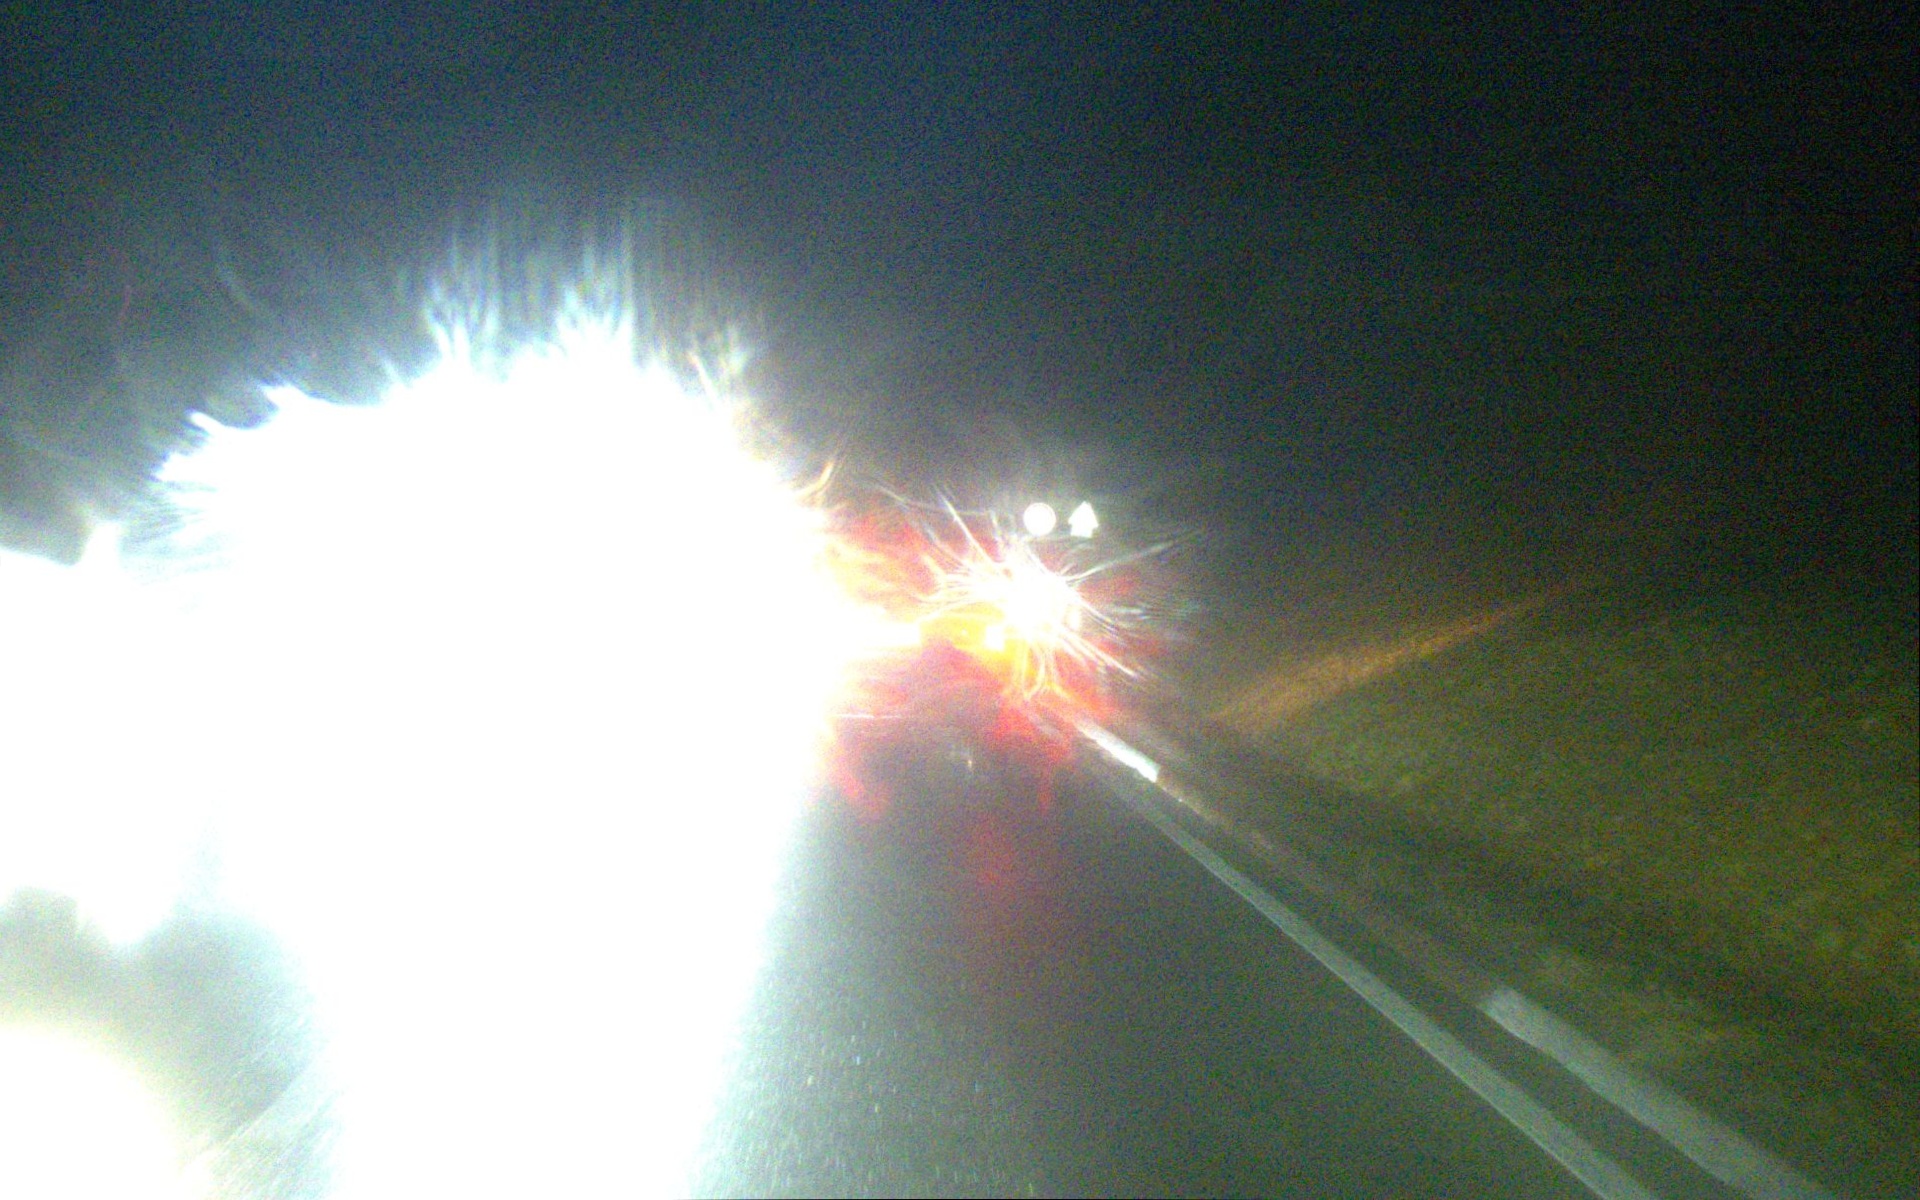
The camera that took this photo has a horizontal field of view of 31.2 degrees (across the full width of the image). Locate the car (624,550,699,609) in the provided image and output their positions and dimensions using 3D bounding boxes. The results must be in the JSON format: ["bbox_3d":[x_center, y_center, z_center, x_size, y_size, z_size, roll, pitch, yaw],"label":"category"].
[{"bbox_3d":[-7.921,-0.544,91.408,1.660,1.476,3.585,2,0,-1],"label":"car"}]

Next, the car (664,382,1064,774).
[{"bbox_3d":[-0.728,-0.200,24.979,2.538,2.489,5.715,-1,1,-2],"label":"car"}]

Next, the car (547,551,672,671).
[{"bbox_3d":[-5.906,0.173,58.242,1.891,1.904,3.796,2,0,-3],"label":"car"}]

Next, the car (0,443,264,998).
[{"bbox_3d":[-3.778,0.290,12.677,1.753,1.728,4.001,2,2,-3],"label":"car"}]

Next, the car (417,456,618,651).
[{"bbox_3d":[-5.027,-0.515,39.551,1.993,2.060,4.001,2,0,-4],"label":"car"}]

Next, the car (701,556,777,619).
[{"bbox_3d":[-5.524,-0.307,86.193,1.660,1.476,3.585,2,0,-1],"label":"car"}]
